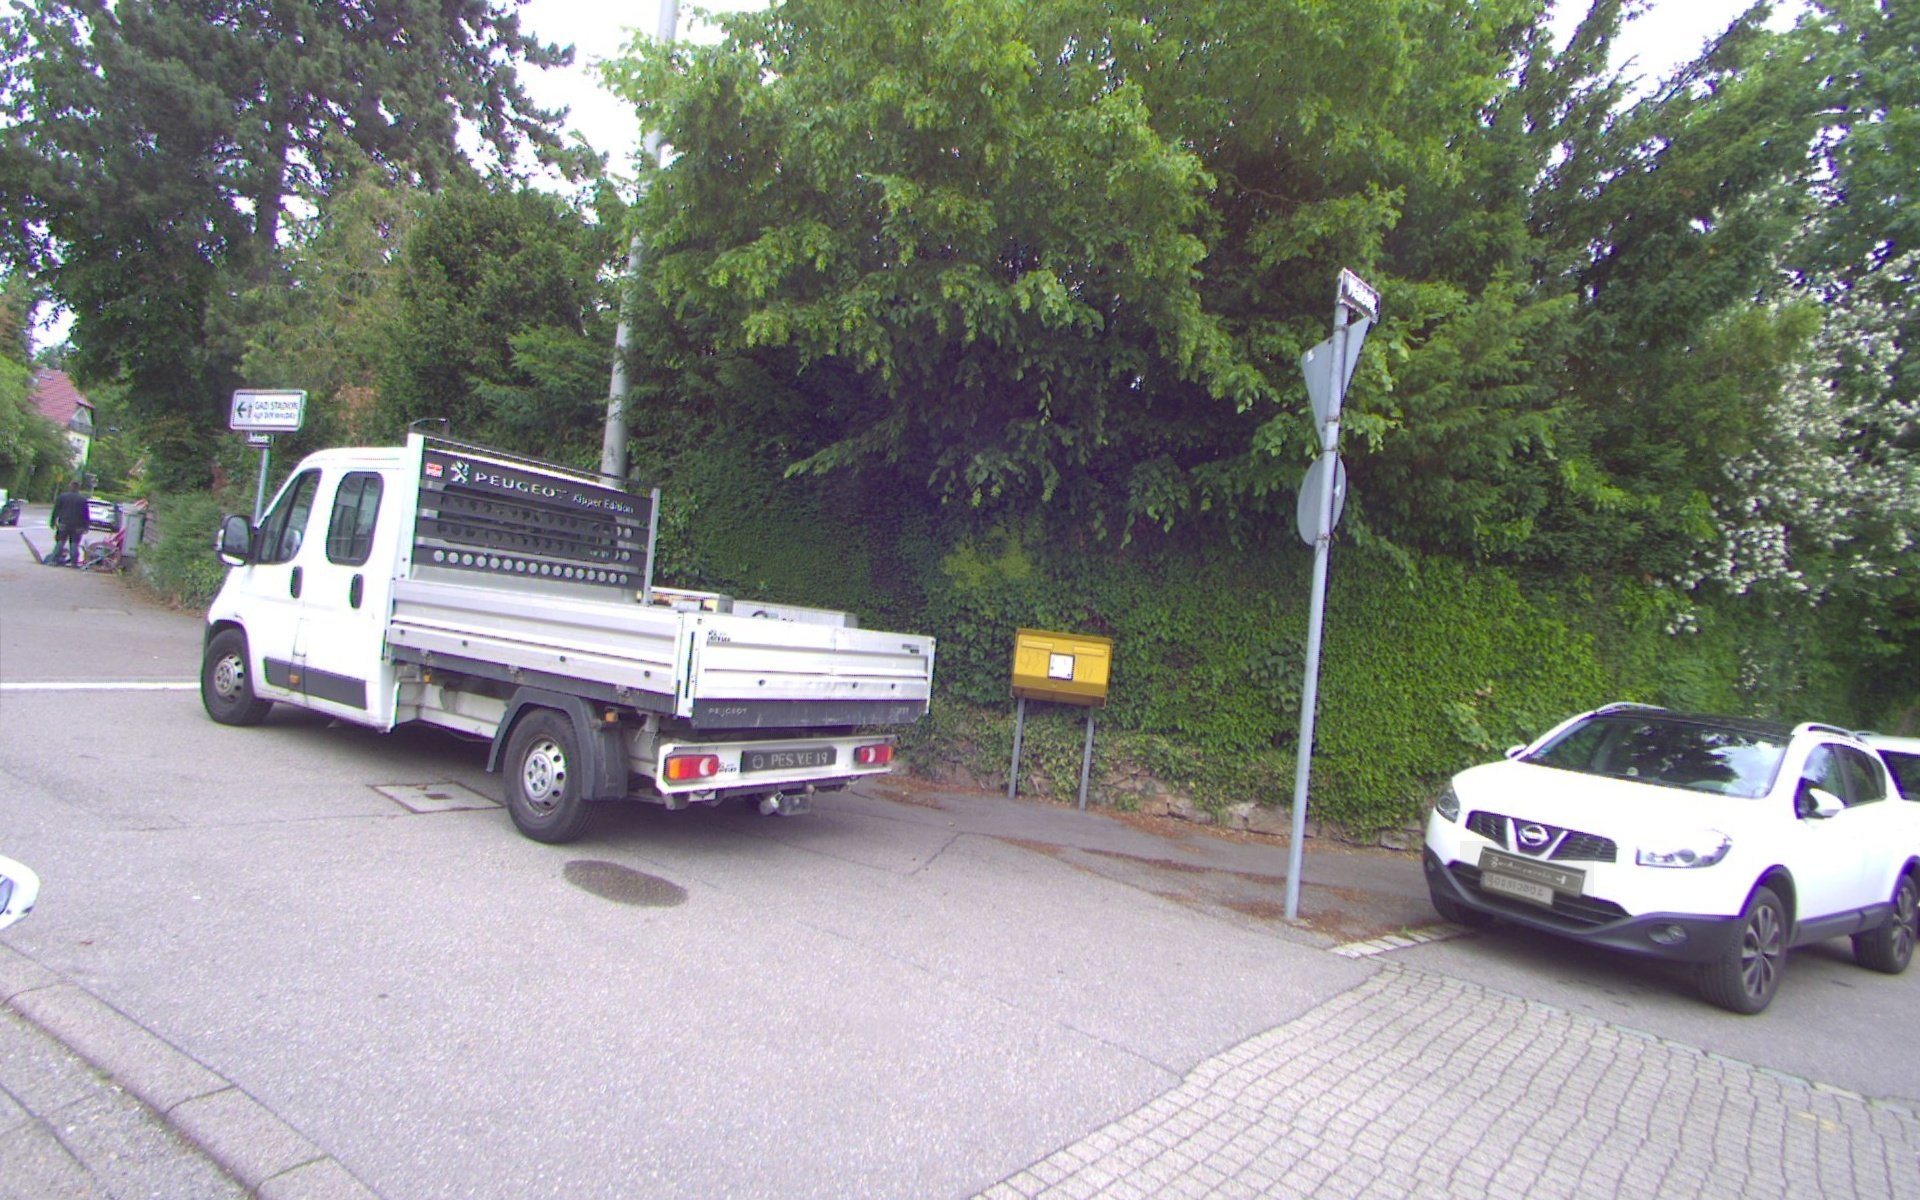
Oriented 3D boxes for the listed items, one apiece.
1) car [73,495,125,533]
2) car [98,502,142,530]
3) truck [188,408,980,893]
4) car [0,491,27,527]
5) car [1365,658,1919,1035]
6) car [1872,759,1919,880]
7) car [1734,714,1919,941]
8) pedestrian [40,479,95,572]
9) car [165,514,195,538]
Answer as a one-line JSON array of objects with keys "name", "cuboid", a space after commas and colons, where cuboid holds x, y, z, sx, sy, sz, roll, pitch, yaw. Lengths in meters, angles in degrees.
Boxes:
[{"name": "car", "cuboid": [-47.788, -4.767, 55.911, 1.798, 1.775, 4.441, 7, 0, -37]}, {"name": "car", "cuboid": [-56.029, -5.601, 67.161, 1.790, 1.545, 4.697, 7, 0, -36]}, {"name": "truck", "cuboid": [-2.929, 0.087, 7.169, 5.631, 2.270, 2.211, 6, -2, 34]}, {"name": "car", "cuboid": [-40.370, -3.881, 41.568, 1.928, 1.420, 4.697, 9, -1, -35]}, {"name": "car", "cuboid": [4.771, 1.472, 6.665, 4.098, 1.641, 1.783, 9, -2, -34]}, {"name": "car", "cuboid": [13.841, 3.022, 13.418, 4.040, 1.440, 1.781, 8, -2, -38]}, {"name": "car", "cuboid": [9.049, 2.118, 9.479, 4.041, 1.641, 1.781, 9, -3, -38]}, {"name": "pedestrian", "cuboid": [-19.608, -1.634, 22.109, 0.549, 1.929, 0.597, 7, -1, 32]}, {"name": "car", "cuboid": [-74.925, -7.105, 96.648, 1.910, 1.915, 4.859, 10, -2, -36]}]
